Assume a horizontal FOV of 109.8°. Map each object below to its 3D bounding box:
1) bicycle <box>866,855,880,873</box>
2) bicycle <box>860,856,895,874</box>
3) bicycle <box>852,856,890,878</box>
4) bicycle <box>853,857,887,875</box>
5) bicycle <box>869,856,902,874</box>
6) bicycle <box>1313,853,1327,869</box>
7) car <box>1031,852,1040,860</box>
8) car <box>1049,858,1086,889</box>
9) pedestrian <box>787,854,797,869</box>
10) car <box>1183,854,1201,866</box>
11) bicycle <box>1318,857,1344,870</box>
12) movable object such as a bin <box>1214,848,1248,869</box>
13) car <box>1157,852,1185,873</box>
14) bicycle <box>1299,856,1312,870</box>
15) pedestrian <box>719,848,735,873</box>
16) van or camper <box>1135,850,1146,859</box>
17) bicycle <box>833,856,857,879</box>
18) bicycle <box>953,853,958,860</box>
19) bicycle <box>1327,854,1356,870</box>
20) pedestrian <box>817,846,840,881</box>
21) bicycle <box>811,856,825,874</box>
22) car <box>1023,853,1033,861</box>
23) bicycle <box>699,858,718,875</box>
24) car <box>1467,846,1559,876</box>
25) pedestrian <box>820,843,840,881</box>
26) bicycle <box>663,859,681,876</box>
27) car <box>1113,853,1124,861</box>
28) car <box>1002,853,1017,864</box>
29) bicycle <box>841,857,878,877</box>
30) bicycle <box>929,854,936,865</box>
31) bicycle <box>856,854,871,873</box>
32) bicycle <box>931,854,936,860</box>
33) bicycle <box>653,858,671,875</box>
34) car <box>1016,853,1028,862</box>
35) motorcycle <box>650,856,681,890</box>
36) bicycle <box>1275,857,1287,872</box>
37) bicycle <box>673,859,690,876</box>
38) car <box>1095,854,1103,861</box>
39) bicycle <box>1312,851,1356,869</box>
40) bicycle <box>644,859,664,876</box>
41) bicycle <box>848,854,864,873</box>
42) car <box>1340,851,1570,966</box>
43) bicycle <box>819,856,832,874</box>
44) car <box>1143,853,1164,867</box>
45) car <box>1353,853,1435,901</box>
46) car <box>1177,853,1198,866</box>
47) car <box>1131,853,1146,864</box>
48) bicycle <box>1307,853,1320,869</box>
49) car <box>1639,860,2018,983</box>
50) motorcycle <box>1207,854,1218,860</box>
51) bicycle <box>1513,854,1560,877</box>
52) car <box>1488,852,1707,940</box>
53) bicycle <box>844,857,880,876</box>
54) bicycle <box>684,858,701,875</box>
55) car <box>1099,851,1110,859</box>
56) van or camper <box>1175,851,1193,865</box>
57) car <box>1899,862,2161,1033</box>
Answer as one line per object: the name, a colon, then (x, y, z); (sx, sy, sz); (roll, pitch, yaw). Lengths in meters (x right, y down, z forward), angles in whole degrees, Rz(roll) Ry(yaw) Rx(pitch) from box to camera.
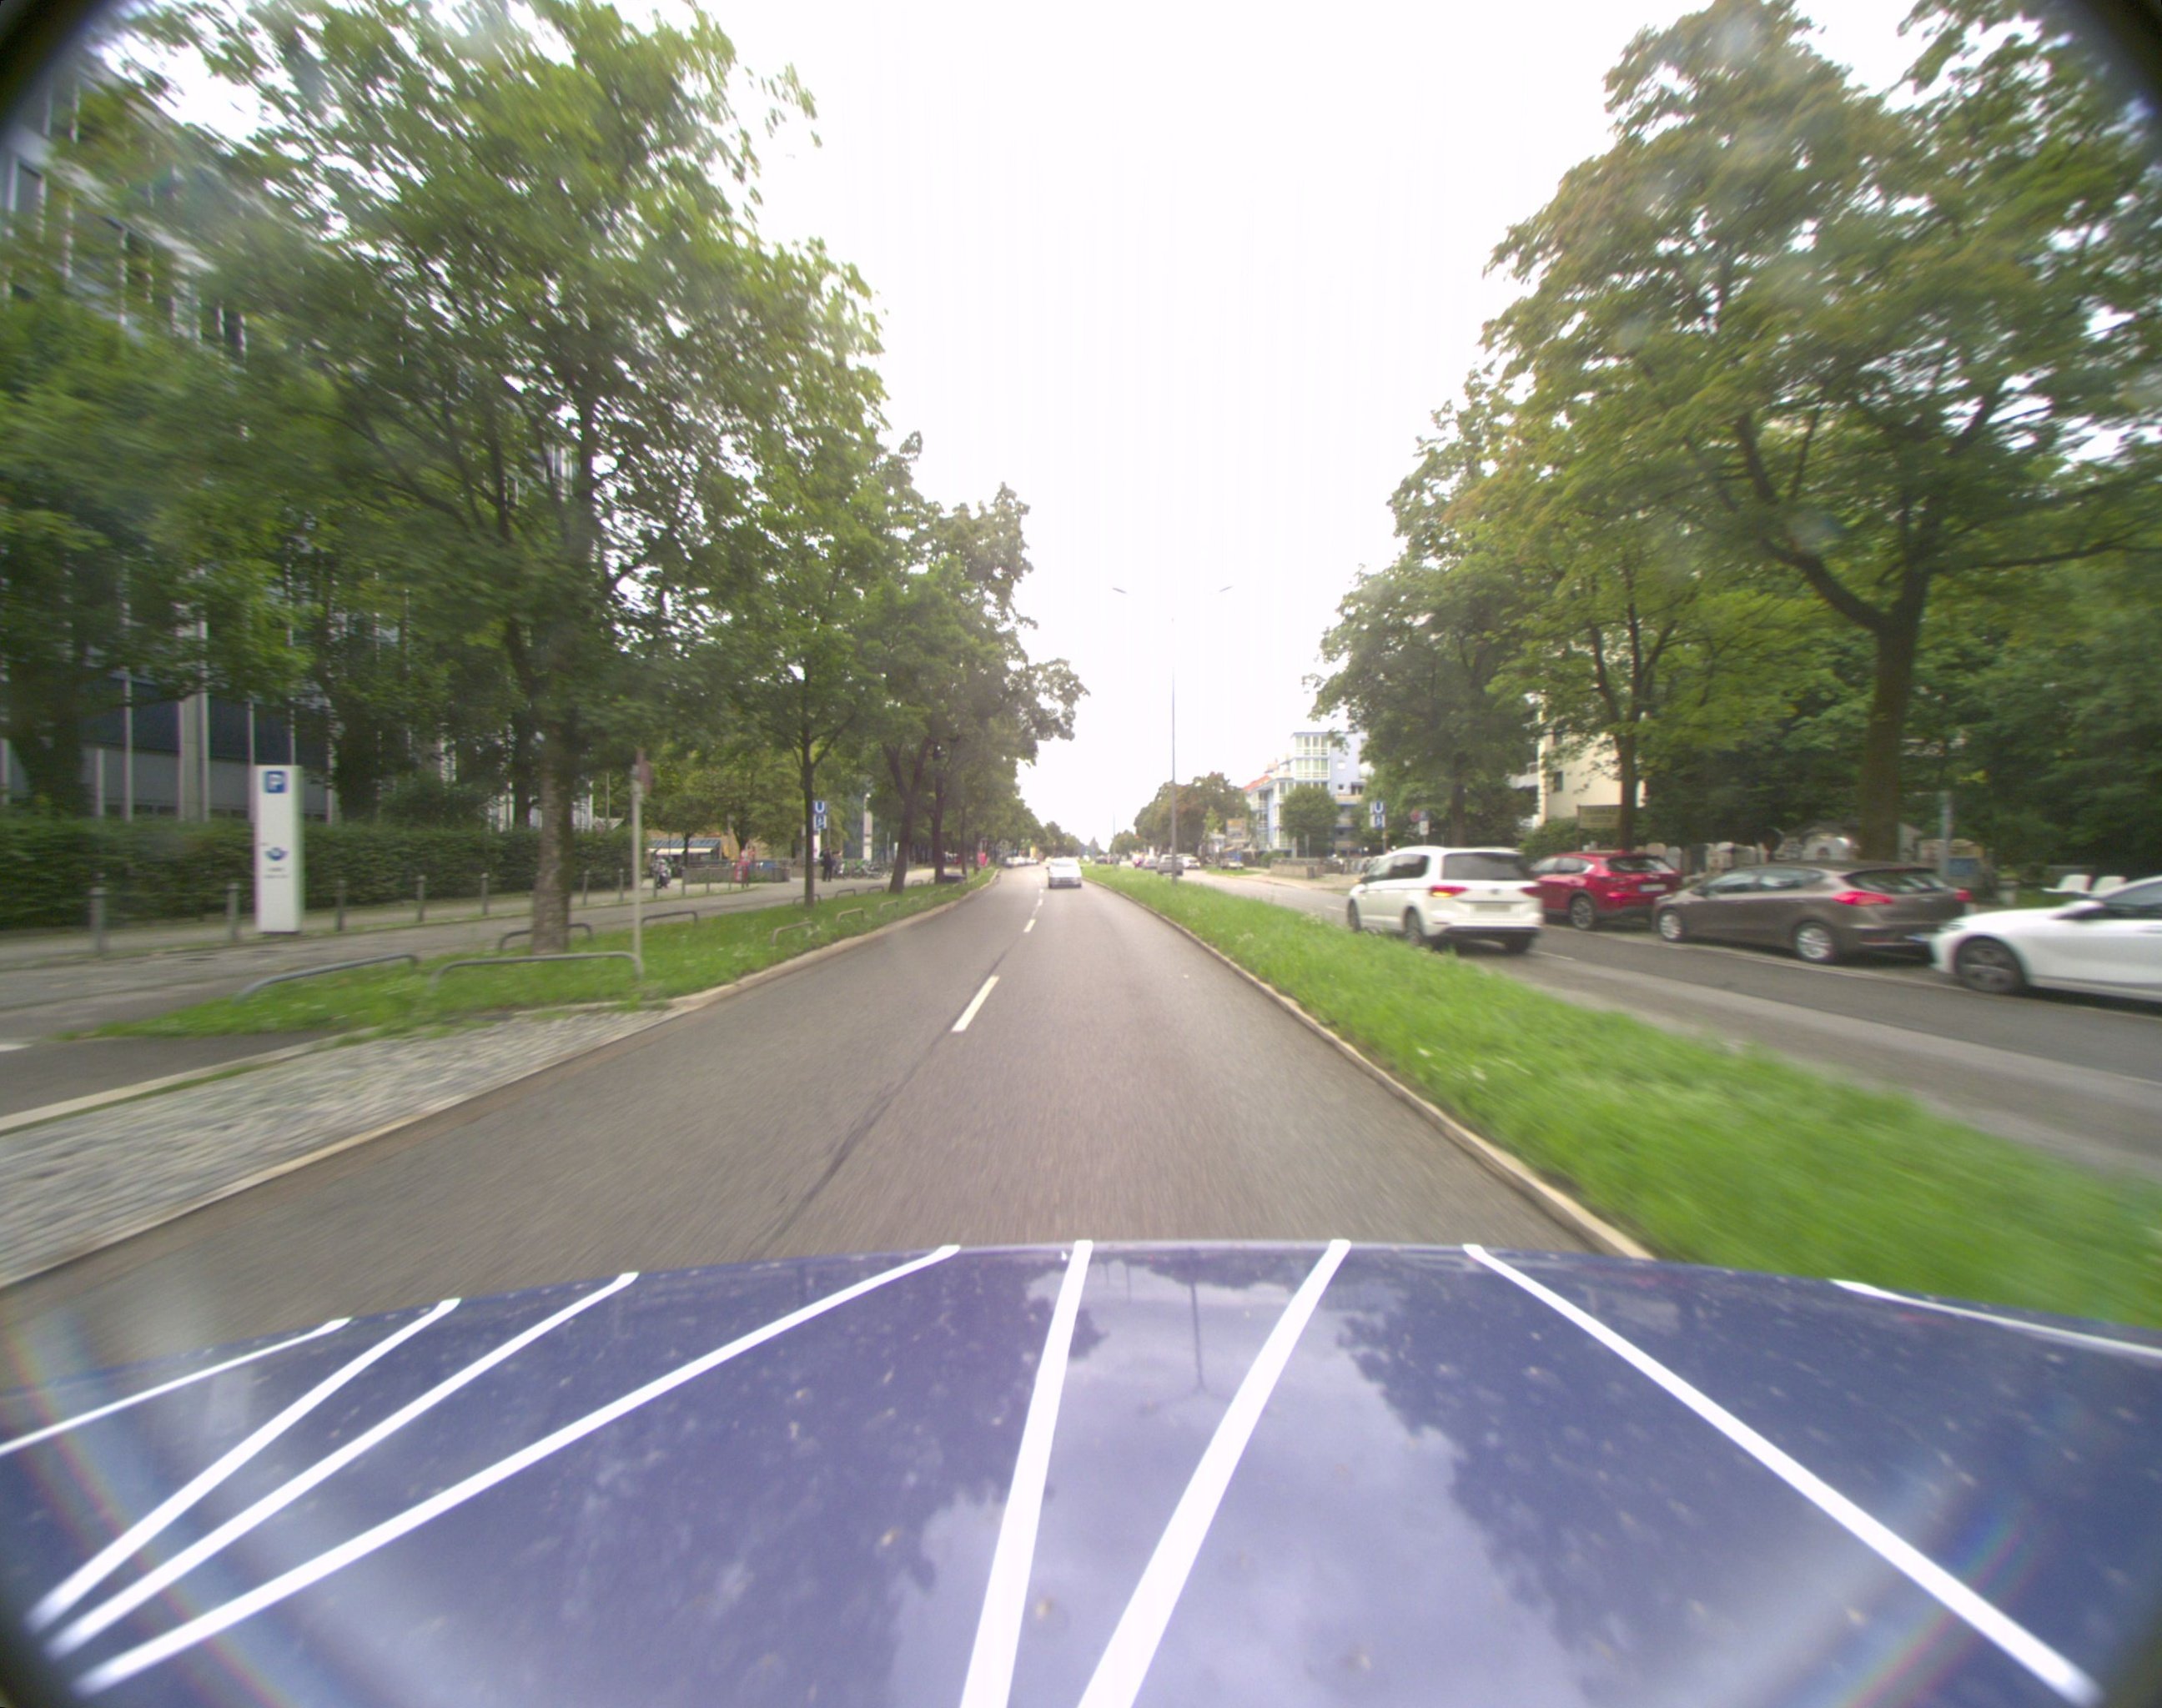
bicycle: (-13.752, 0.643, 50.270); (0.489, 1.182, 1.954); (0, 0, -2)
bicycle: (-12.799, 0.723, 47.762); (2.045, 1.083, 0.603); (1, 2, -43)
bicycle: (-12.062, 0.754, 43.626); (1.958, 1.182, 0.595); (3, -1, -33)
bicycle: (-12.911, 0.756, 46.535); (1.959, 1.059, 0.578); (3, 0, -43)
bicycle: (-12.719, 0.738, 49.403); (2.037, 1.093, 0.578); (2, 1, -44)
bicycle: (17.733, 0.523, 56.377); (0.409, 1.090, 1.955); (-4, 0, 4)
car: (-9.488, 0.430, 158.953); (1.590, 1.495, 3.735); (0, 0, 2)
car: (-0.639, 0.945, 38.418); (1.679, 1.434, 3.735); (0, 0, 2)
pedestrian: (-31.397, 0.811, 82.511); (0.571, 1.636, 0.881); (1, 1, 36)
car: (14.040, 0.768, 95.989); (1.651, 1.480, 3.902); (0, 0, -1)
bicycle: (20.668, 0.766, 62.867); (1.952, 1.097, 0.560); (0, 1, 5)
movable object such as a bin: (14.274, 0.445, 72.705); (2.199, 1.941, 3.998); (0, 0, -4)
car: (7.150, 0.632, 60.751); (1.770, 1.615, 4.376); (0, 0, 2)
bicycle: (16.636, 0.671, 56.276); (0.409, 1.024, 1.955); (-4, 0, 4)
pedestrian: (-24.604, 0.455, 52.784); (0.687, 1.762, 0.770); (0, 1, 12)
van or camper: (12.640, 0.074, 161.019); (2.020, 2.004, 5.198); (0, 0, 1)
bicycle: (-12.637, 0.724, 40.722); (0.531, 1.219, 1.863); (2, -1, 5)
bicycle: (-21.879, 0.368, 132.442); (0.512, 1.185, 2.141); (0, 1, -1)
bicycle: (20.295, 0.641, 59.160); (1.952, 1.097, 0.560); (-4, 0, 5)
pedestrian: (-12.400, 0.448, 37.287); (0.784, 1.704, 0.751); (0, 1, 15)
bicycle: (-17.591, 0.728, 50.831); (0.513, 1.182, 2.140); (0, 0, -9)
car: (-9.884, 0.560, 141.863); (1.590, 1.310, 3.735); (0, 0, 2)
bicycle: (-28.081, 0.931, 57.259); (0.608, 1.253, 2.054); (0, 0, -7)
car: (23.537, 0.375, 41.488); (3.996, 1.580, 1.749); (0, 0, 3)
pedestrian: (-12.613, 0.391, 38.238); (0.652, 1.888, 0.750); (0, 1, 12)
bicycle: (-30.738, 0.990, 57.147); (0.510, 1.253, 2.020); (0, 0, -9)
car: (6.720, 0.541, 136.851); (1.962, 1.471, 4.259); (0, 0, 2)
car: (-10.493, 0.602, 111.230); (1.866, 1.581, 4.602); (0, 0, -2)
bicycle: (-12.839, 0.760, 44.100); (1.959, 1.101, 0.579); (5, -3, -43)
bicycle: (-17.308, 0.601, 88.779); (0.622, 1.243, 1.919); (0, 0, -5)
bicycle: (-14.264, 0.618, 49.958); (0.489, 1.182, 1.954); (0, 0, -2)
bicycle: (-25.300, 0.467, 130.438); (0.572, 0.935, 2.064); (0, 1, -1)
bicycle: (-31.456, 0.949, 57.055); (0.510, 1.253, 1.953); (0, 0, -9)
car: (-10.125, 0.581, 131.159); (1.682, 1.522, 4.096); (0, 0, 2)
motorcycle: (-16.799, 0.750, 30.761); (0.550, 1.311, 2.071); (0, 0, -14)
bicycle: (14.826, 0.768, 56.316); (0.409, 1.071, 1.955); (-4, 0, 4)
bicycle: (-30.151, 1.000, 57.367); (0.510, 1.253, 2.173); (0, 0, -9)
car: (4.152, 0.760, 173.202); (1.761, 1.440, 3.672); (0, 0, 2)
bicycle: (21.324, 0.476, 64.143); (3.334, 1.275, 0.788); (-4, 0, 5)
bicycle: (-32.073, 0.986, 57.094); (0.554, 1.253, 2.173); (0, 0, -9)
bicycle: (-14.856, 0.622, 50.225); (0.489, 1.182, 1.954); (0, 0, -2)
car: (6.081, 0.775, 13.021); (1.838, 1.633, 4.351); (0, 0, 1)
bicycle: (-17.022, 0.704, 50.658); (0.447, 1.182, 2.140); (0, 0, -9)
car: (7.682, 0.589, 80.903); (1.920, 1.475, 4.865); (0, 0, 1)
car: (11.681, 0.808, 28.607); (1.651, 1.605, 3.819); (-2, 0, 3)
car: (14.109, 0.687, 100.845); (1.704, 1.606, 4.661); (0, 0, -7)
car: (7.634, 0.549, 100.589); (1.696, 1.394, 3.967); (0, 0, 0)
bicycle: (17.212, 0.519, 56.384); (0.409, 1.097, 1.955); (-4, 0, 4)
car: (11.200, 0.891, 11.941); (1.743, 1.474, 4.334); (-3, 0, 2)
motorcycle: (23.531, 0.513, 135.673); (1.814, 1.164, 0.464); (0, 1, -3)
bicycle: (19.963, 0.518, 33.290); (1.766, 1.001, 0.436); (0, 1, 1)
car: (11.325, 0.820, 17.147); (1.743, 1.642, 4.606); (-3, 0, 0)
bicycle: (-13.042, 0.734, 45.262); (1.959, 1.077, 0.595); (3, -2, -43)
bicycle: (-29.332, 0.943, 57.432); (0.510, 1.253, 2.173); (0, 0, -9)
car: (4.012, 0.136, 129.727); (1.787, 1.397, 4.101); (0, 0, -1)
van or camper: (14.356, 0.498, 106.191); (1.809, 1.956, 5.211); (0, 0, 1)
car: (11.023, 0.898, 7.218); (1.743, 1.521, 4.475); (-2, 0, 2)
